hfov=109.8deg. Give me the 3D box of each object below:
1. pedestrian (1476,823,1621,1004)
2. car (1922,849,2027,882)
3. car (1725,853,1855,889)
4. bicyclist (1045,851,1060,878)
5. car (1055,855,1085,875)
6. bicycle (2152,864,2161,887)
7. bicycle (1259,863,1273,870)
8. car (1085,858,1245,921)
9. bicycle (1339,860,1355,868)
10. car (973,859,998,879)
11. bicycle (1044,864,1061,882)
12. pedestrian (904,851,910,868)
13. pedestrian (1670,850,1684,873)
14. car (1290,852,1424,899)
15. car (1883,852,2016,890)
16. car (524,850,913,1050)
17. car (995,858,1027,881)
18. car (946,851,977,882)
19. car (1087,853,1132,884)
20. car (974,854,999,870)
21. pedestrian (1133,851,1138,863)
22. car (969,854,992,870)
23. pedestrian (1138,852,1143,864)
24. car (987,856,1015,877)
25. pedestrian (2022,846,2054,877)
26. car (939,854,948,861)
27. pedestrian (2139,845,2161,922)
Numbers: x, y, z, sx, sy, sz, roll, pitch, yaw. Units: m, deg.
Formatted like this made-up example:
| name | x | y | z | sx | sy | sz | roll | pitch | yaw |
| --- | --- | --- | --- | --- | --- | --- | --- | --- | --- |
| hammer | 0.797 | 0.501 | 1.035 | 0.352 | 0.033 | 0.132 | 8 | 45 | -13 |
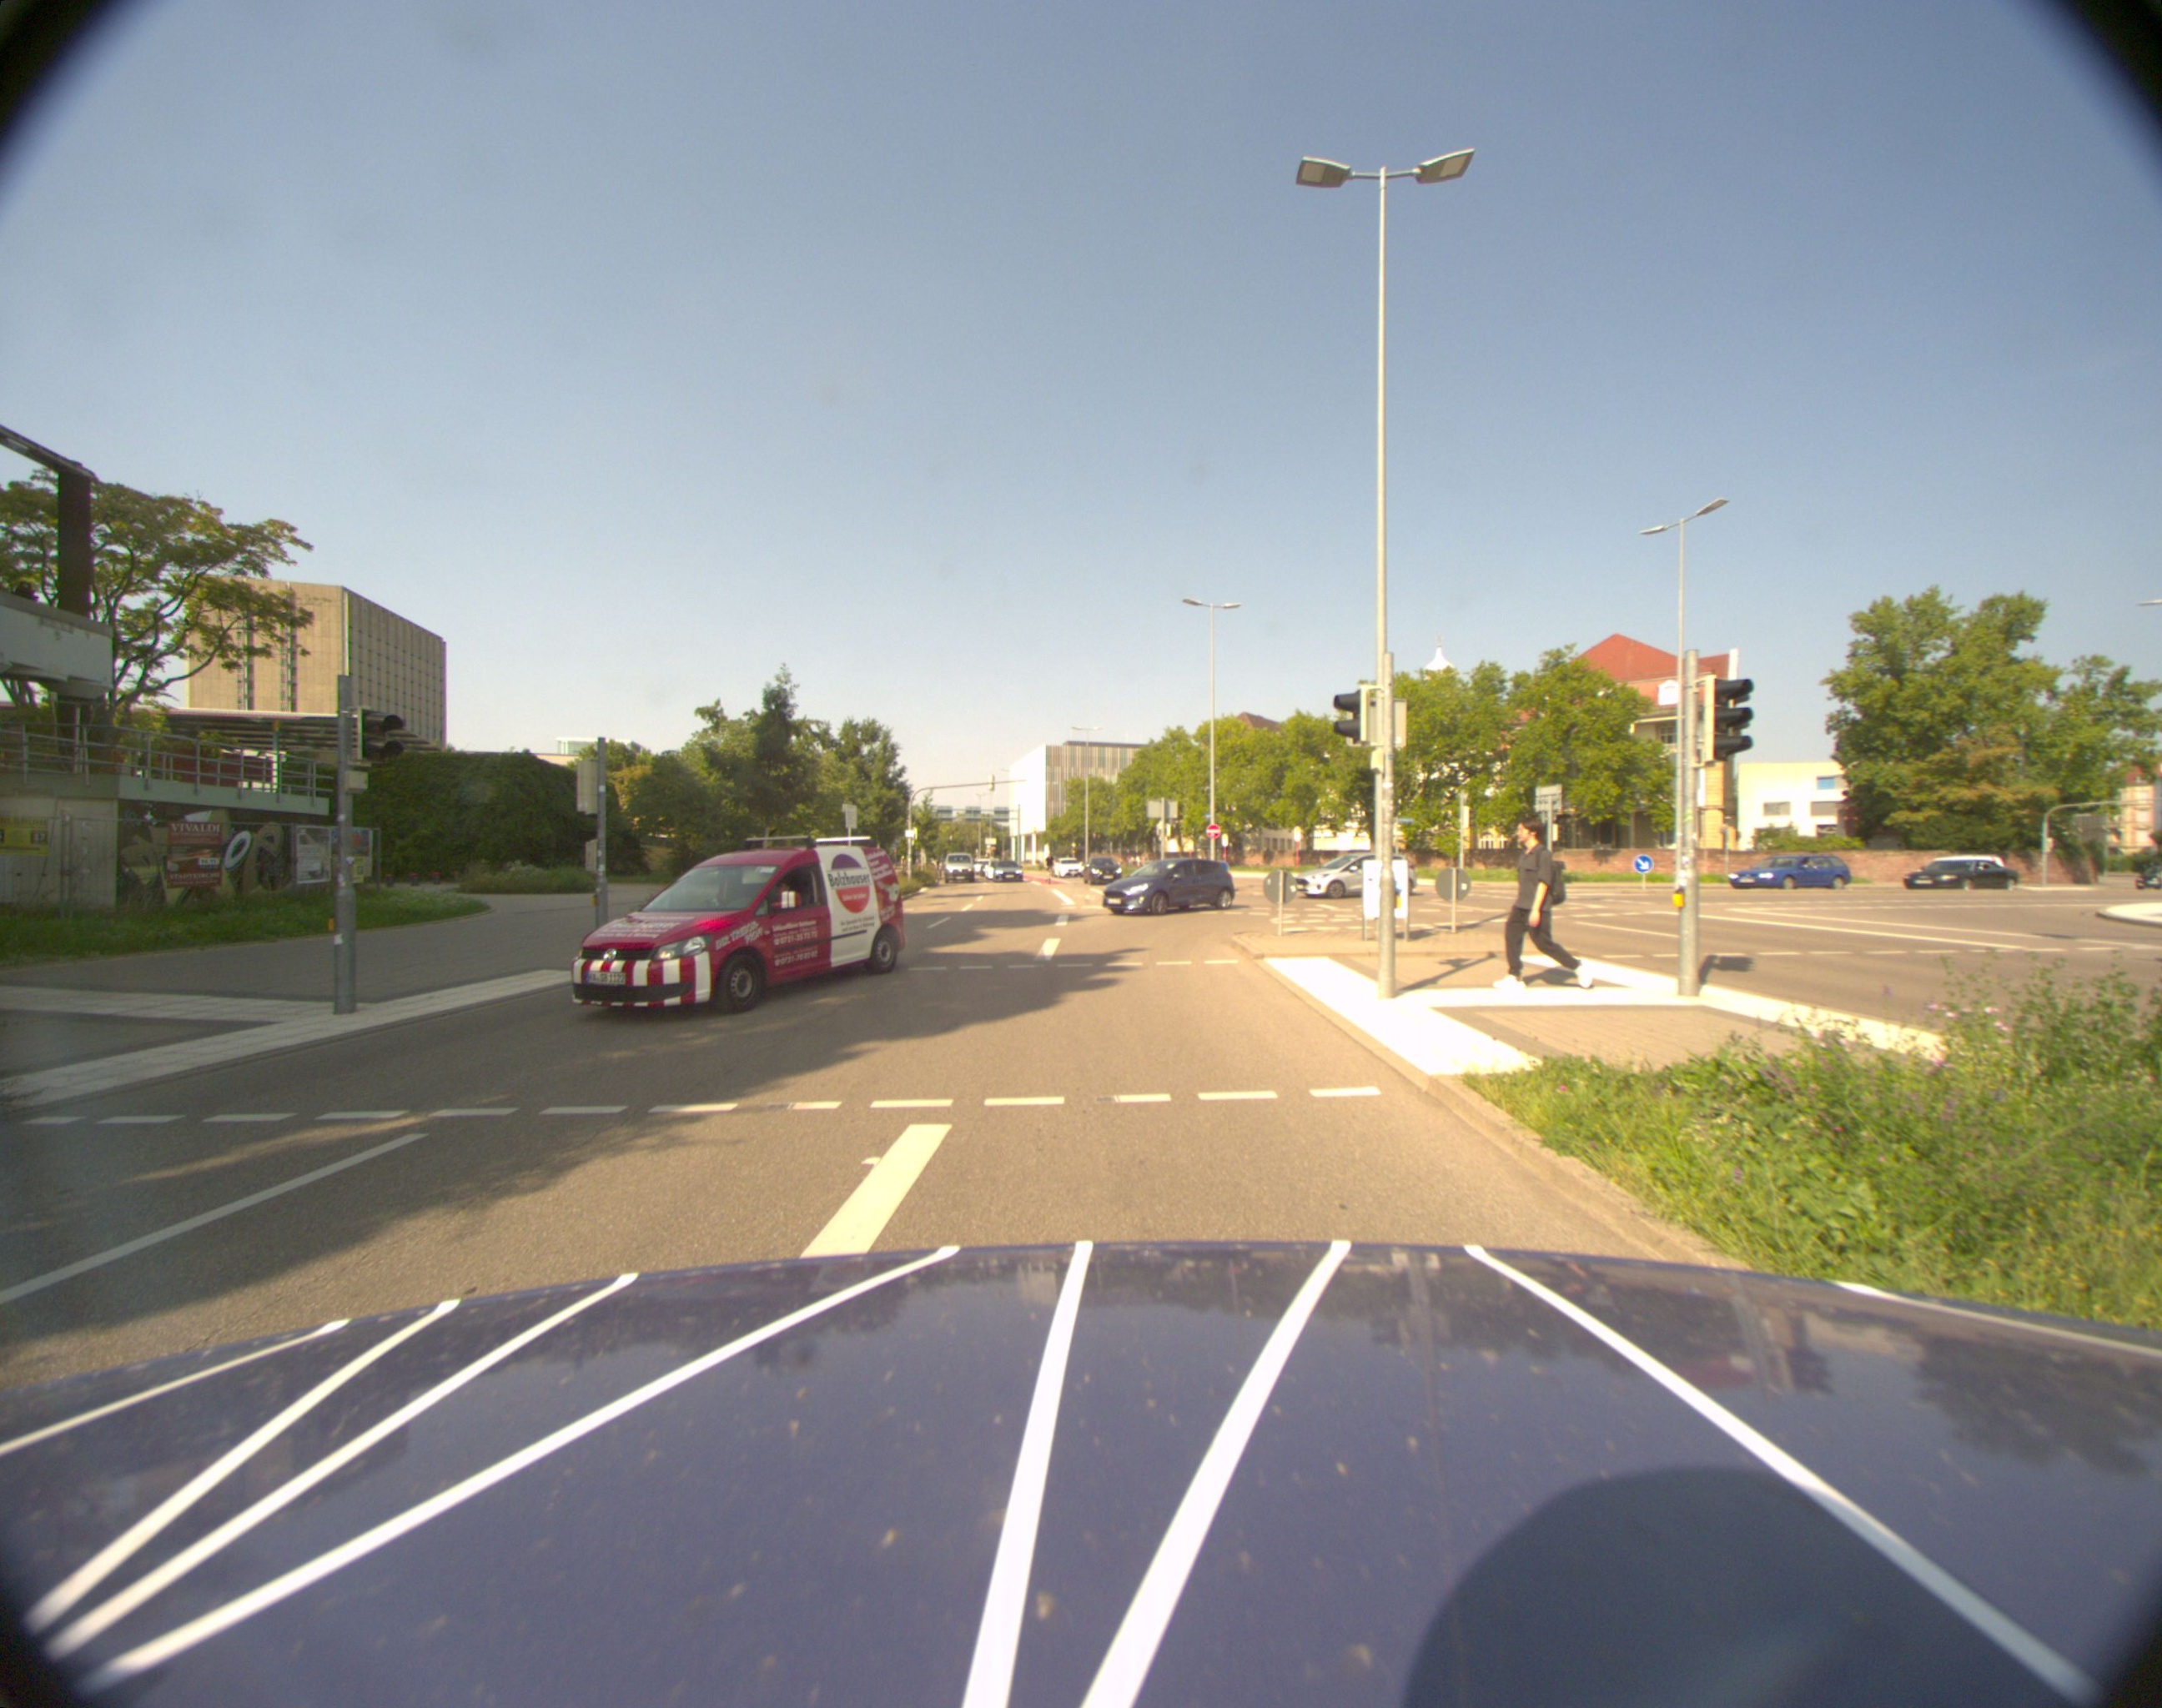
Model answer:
| name | x | y | z | sx | sy | sz | roll | pitch | yaw |
| --- | --- | --- | --- | --- | --- | --- | --- | --- | --- |
| pedestrian | 4.953 | 0.614 | 8.115 | 1.081 | 1.829 | 0.730 | -1 | 0 | 5 |
| car | 46.803 | 0.625 | 39.841 | 4.001 | 1.667 | 1.756 | 0 | -2 | -10 |
| car | 27.232 | 0.619 | 29.195 | 4.335 | 1.321 | 1.605 | 0 | 0 | -15 |
| bicyclist | -1.670 | 0.614 | 44.685 | 0.749 | 1.626 | 0.875 | 0 | 0 | -10 |
| car | -0.859 | 0.827 | 56.969 | 1.716 | 1.428 | 3.861 | 0 | 0 | -10 |
| bicycle | 58.092 | 1.145 | 39.890 | 3.078 | 1.197 | 0.887 | 0 | -2 | -10 |
| bicycle | 20.796 | 1.393 | 85.362 | 0.435 | 0.830 | 1.546 | 0 | 0 | -36 |
| car | 2.326 | 0.861 | 20.392 | 4.330 | 1.419 | 1.636 | -2 | 1 | -38 |
| bicycle | 27.044 | 1.002 | 77.162 | 0.435 | 0.830 | 1.546 | 0 | 0 | -39 |
| car | -7.837 | 1.198 | 62.095 | 2.000 | 1.497 | 4.432 | 0 | 0 | -8 |
| bicycle | -1.670 | 1.112 | 44.694 | 0.770 | 1.046 | 1.773 | 0 | 0 | -10 |
| pedestrian | -18.970 | 0.643 | 82.695 | 0.624 | 1.835 | 0.640 | 0 | 1 | -12 |
| pedestrian | 45.352 | 0.568 | 57.818 | 0.716 | 1.673 | 0.596 | 0 | 1 | 45 |
| car | 9.116 | 0.683 | 25.227 | 3.861 | 1.425 | 1.719 | -1 | 1 | -11 |
| car | 36.080 | 0.671 | 31.604 | 4.002 | 1.543 | 1.997 | 0 | 0 | -14 |
| car | -3.947 | 0.880 | 9.232 | 1.734 | 1.808 | 4.283 | -1 | 0 | 18 |
| car | -4.657 | 0.968 | 50.151 | 1.911 | 1.392 | 4.917 | 0 | 0 | -8 |
| car | -7.766 | 0.761 | 49.684 | 1.847 | 1.864 | 4.970 | 0 | 0 | -8 |
| car | 1.525 | 0.759 | 42.673 | 1.853 | 1.569 | 4.711 | -2 | 0 | -6 |
| car | -9.284 | 0.764 | 74.750 | 1.934 | 1.497 | 4.289 | 0 | 0 | -14 |
| pedestrian | 7.479 | 0.417 | 104.696 | 0.536 | 1.562 | 0.501 | 0 | 1 | -33 |
| car | -10.711 | 0.820 | 80.910 | 1.934 | 1.650 | 4.289 | 0 | 0 | -14 |
| pedestrian | 8.027 | 0.499 | 102.809 | 0.484 | 1.641 | 0.593 | 1 | -2 | -31 |
| car | -6.049 | 0.939 | 57.154 | 2.000 | 1.497 | 4.432 | 0 | 0 | -8 |
| pedestrian | 61.188 | 0.489 | 48.597 | 0.907 | 2.001 | 0.821 | 0 | -2 | 0 |
| car | -32.056 | 0.751 | 176.841 | 1.833 | 1.674 | 3.995 | 0 | 0 | -13 |
| pedestrian | 22.266 | 0.598 | 15.469 | 0.668 | 1.556 | 0.752 | 0 | 2 | -31 |
